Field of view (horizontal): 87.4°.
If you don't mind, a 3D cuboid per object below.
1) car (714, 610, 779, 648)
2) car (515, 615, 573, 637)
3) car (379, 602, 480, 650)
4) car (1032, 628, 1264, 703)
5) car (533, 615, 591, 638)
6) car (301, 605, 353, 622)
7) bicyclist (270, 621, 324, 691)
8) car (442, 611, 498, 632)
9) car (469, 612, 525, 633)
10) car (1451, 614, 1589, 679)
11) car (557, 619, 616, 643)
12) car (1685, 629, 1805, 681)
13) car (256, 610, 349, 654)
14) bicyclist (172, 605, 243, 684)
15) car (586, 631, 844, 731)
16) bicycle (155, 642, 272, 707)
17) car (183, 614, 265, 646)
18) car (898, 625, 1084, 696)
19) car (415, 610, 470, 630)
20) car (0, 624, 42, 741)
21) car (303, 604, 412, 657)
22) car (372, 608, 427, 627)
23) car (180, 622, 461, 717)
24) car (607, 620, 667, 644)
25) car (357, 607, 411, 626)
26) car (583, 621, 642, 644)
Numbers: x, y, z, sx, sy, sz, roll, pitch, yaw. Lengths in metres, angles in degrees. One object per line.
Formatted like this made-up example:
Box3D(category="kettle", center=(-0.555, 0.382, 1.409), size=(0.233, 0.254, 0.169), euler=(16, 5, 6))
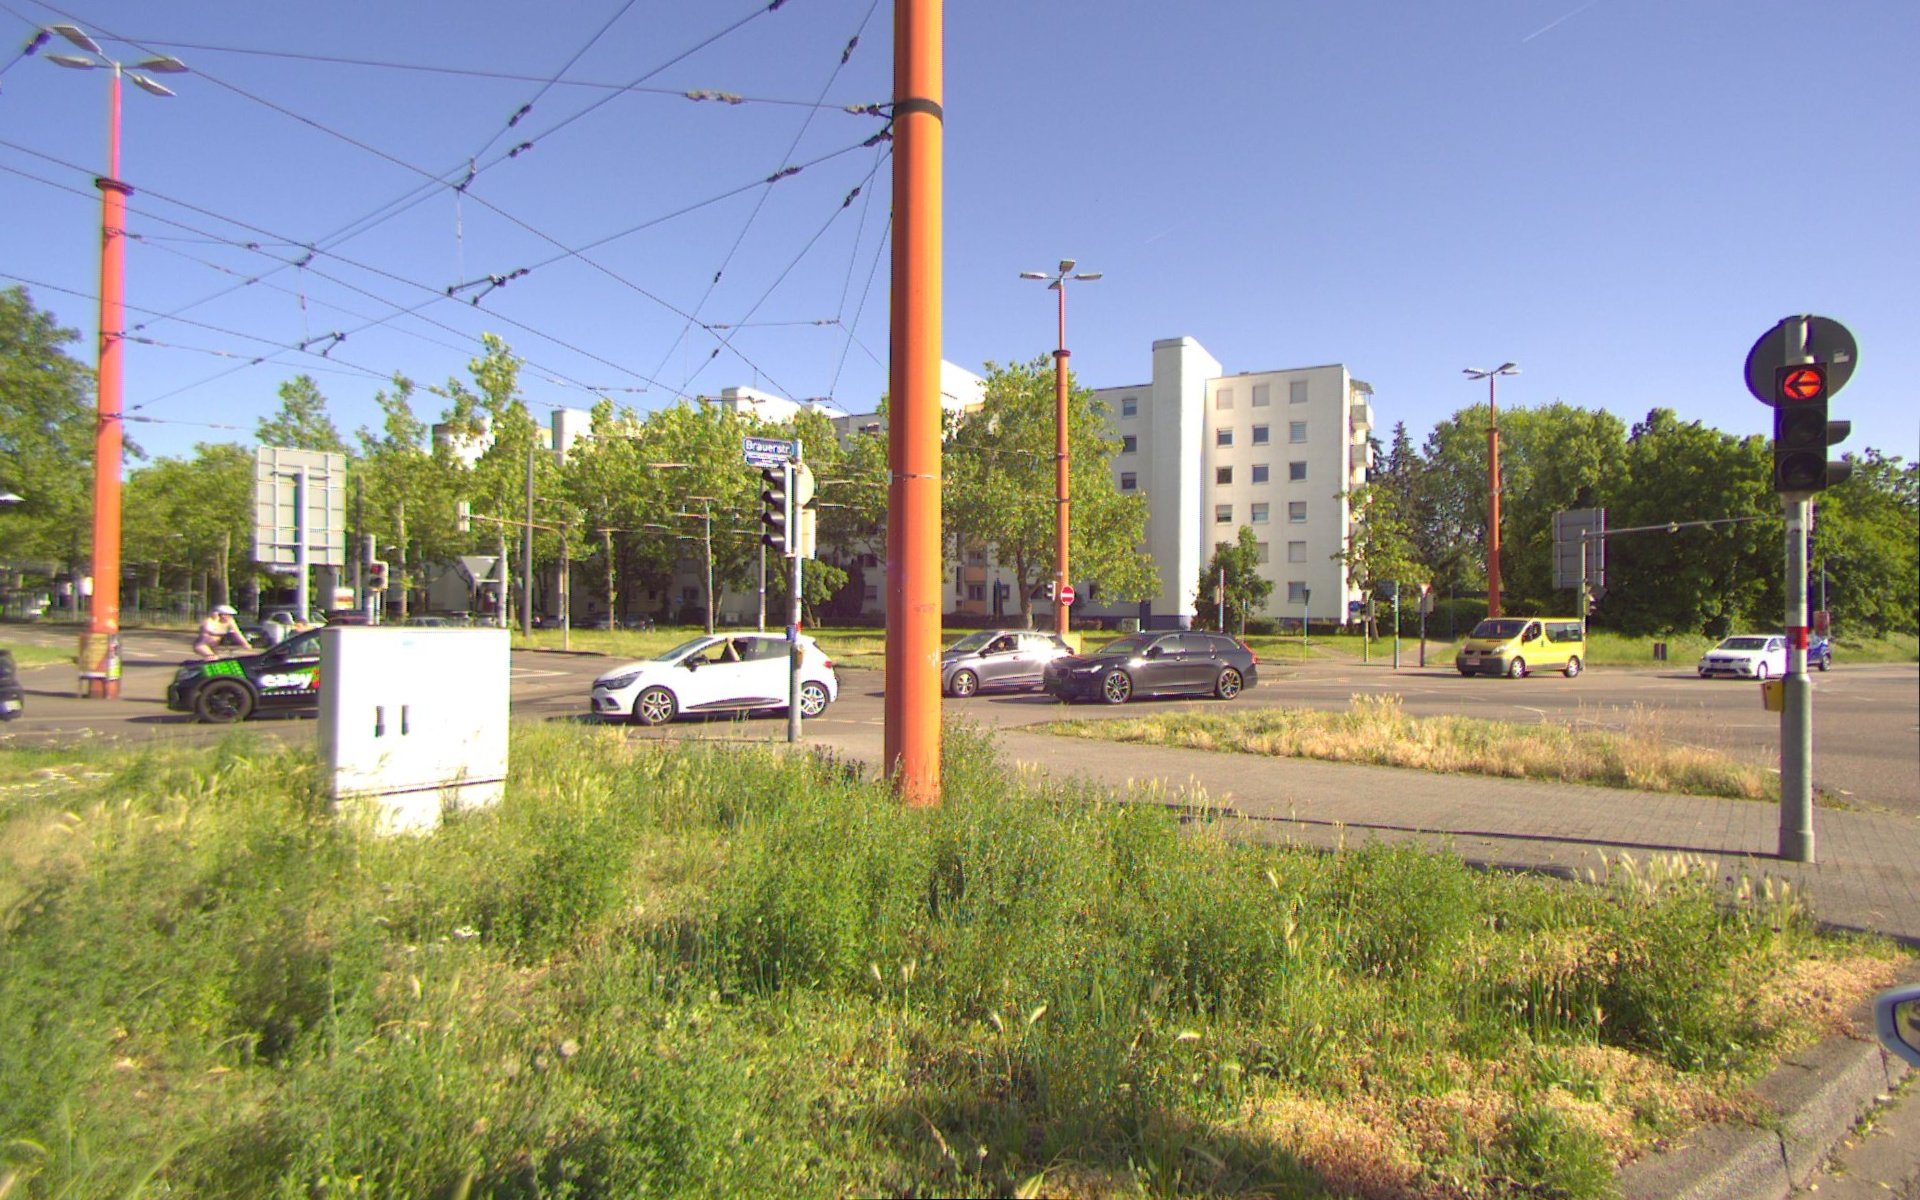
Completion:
Box3D(category="car", center=(-13.838, 1.888, 65.048), size=(3.934, 2.341, 1.890), euler=(2, 0, -15))
Box3D(category="car", center=(-32.851, 2.022, 79.422), size=(3.934, 1.617, 1.890), euler=(2, 0, -15))
Box3D(category="car", center=(-23.047, 1.113, 43.627), size=(4.200, 1.926, 1.996), euler=(1, 0, 31))
Box3D(category="car", center=(3.913, 1.295, 20.638), size=(4.737, 1.386, 1.622), euler=(1, -1, -29))
Box3D(category="car", center=(-30.772, 2.066, 77.777), size=(3.934, 1.617, 1.890), euler=(2, 0, -15))
Box3D(category="car", center=(-63.531, 1.354, 100.848), size=(3.934, 1.617, 1.890), euler=(2, 0, -15))
Box3D(category="bicyclist", center=(-13.124, 1.092, 19.896), size=(0.686, 1.340, 0.549), euler=(1, 0, 18))
Box3D(category="car", center=(-41.754, 1.829, 85.665), size=(3.934, 1.617, 1.890), euler=(2, 0, -15))
Box3D(category="car", center=(-38.555, 1.902, 83.783), size=(3.934, 1.617, 1.890), euler=(2, 0, -15))
Box3D(category="car", center=(18.621, 1.539, 33.346), size=(4.730, 2.013, 1.750), euler=(2, 0, -29))
Box3D(category="car", center=(-28.130, 2.336, 75.690), size=(3.934, 1.617, 1.890), euler=(2, 0, -15))
Box3D(category="car", center=(26.326, 1.823, 33.661), size=(3.950, 1.617, 1.697), euler=(2, 0, -28))
Box3D(category="car", center=(-28.978, 1.369, 44.264), size=(3.930, 1.773, 1.909), euler=(1, 0, 31))
Box3D(category="bicyclist", center=(-14.258, 0.832, 19.042), size=(0.742, 1.449, 0.752), euler=(1, 0, 18))
Box3D(category="car", center=(-4.048, 1.282, 16.768), size=(3.903, 1.478, 1.598), euler=(1, -1, -30))
Box3D(category="bicycle", center=(-14.138, 1.398, 19.014), size=(2.313, 1.095, 0.474), euler=(1, 0, 17))
Box3D(category="car", center=(-34.729, 1.405, 47.349), size=(3.930, 1.339, 1.732), euler=(1, 0, 31))
Box3D(category="car", center=(0.732, 1.341, 22.933), size=(3.952, 1.484, 1.688), euler=(1, -1, -30))
Box3D(category="car", center=(-45.123, 1.752, 87.641), size=(3.934, 1.617, 1.890), euler=(2, 0, -15))
Box3D(category="car", center=(-13.722, 0.965, 11.676), size=(4.211, 1.395, 1.541), euler=(1, -1, -30))
Box3D(category="car", center=(-24.286, 1.208, 40.455), size=(4.200, 1.926, 1.996), euler=(1, 0, 31))
Box3D(category="car", center=(-50.988, 1.621, 91.404), size=(3.934, 1.617, 1.890), euler=(2, 0, -15))
Box3D(category="car", center=(-10.648, 1.148, 17.045), size=(3.838, 1.452, 1.538), euler=(2, -3, -29))
Box3D(category="car", center=(-23.174, 2.311, 72.250), size=(3.934, 1.617, 1.890), euler=(2, 0, -15))
Box3D(category="car", center=(-53.661, 1.567, 93.685), size=(3.934, 1.617, 1.890), euler=(2, 0, -15))
Box3D(category="car", center=(-25.667, 2.392, 74.229), size=(3.934, 1.617, 1.890), euler=(2, 0, -15))
